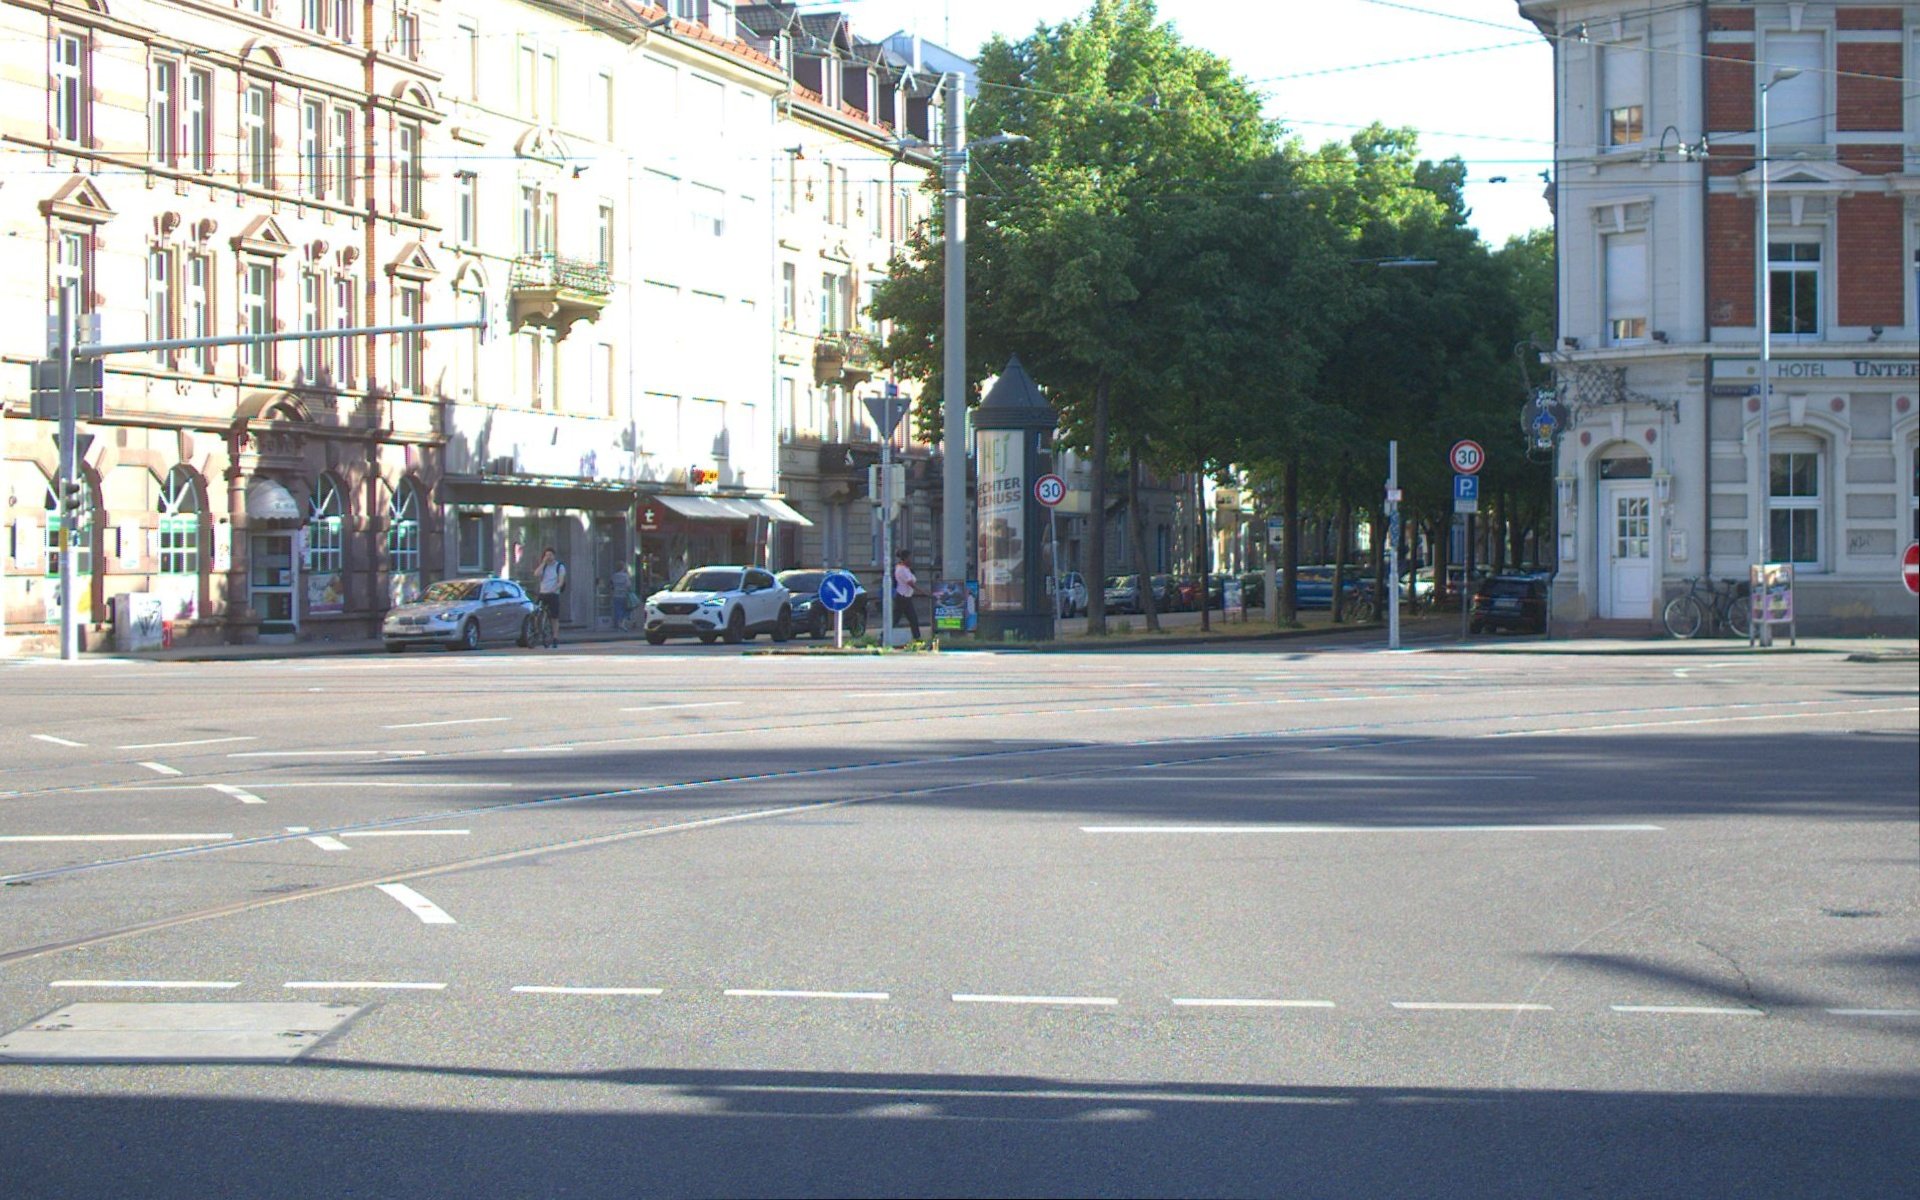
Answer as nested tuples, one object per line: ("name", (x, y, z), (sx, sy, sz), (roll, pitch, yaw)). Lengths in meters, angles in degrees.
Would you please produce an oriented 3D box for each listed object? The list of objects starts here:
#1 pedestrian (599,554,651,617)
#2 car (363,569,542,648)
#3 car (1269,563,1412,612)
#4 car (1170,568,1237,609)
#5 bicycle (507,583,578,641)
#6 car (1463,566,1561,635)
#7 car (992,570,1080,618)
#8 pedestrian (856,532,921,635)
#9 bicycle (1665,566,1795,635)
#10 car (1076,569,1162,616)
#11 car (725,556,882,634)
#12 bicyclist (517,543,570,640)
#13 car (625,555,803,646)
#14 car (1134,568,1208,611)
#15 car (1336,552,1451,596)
("pedestrian", (-8.166, -0.364, 83.850), (0.929, 1.530, 1.136), (0, 1, 14))
("car", (-9.855, 0.150, 67.063), (1.900, 1.450, 3.997), (0, 1, 17))
("car", (12.773, -0.437, 115.426), (4.382, 1.606, 1.997), (0, 1, 27))
("car", (9.691, -0.464, 136.346), (1.766, 1.544, 4.387), (0, 1, 16))
("bicycle", (-7.891, 0.218, 65.025), (0.680, 1.062, 2.124), (0, 1, 12))
("car", (13.265, -0.010, 82.456), (1.995, 1.579, 3.998), (0, 1, 14))
("car", (2.480, -0.220, 110.977), (1.995, 1.481, 3.998), (0, 1, 14))
("pedestrian", (-1.215, -0.289, 58.428), (1.046, 1.738, 0.809), (0, 1, -4))
("bicycle", (12.855, 0.010, 57.405), (2.085, 1.120, 0.367), (1, 0, -4))
("car", (5.699, -0.296, 122.679), (1.995, 1.607, 4.387), (0, 1, 17))
("car", (-3.321, -0.134, 73.852), (1.995, 1.606, 4.387), (0, 1, 17))
("bicyclist", (-7.881, -0.162, 65.060), (0.679, 1.814, 1.070), (0, 1, 12))
("car", (-4.766, -0.017, 67.339), (1.995, 1.678, 4.387), (0, 1, 17))
("car", (8.025, -0.415, 130.469), (1.839, 1.547, 4.387), (0, 1, 17))
("car", (16.853, -1.011, 133.639), (3.993, 1.700, 1.997), (0, 1, 30))
